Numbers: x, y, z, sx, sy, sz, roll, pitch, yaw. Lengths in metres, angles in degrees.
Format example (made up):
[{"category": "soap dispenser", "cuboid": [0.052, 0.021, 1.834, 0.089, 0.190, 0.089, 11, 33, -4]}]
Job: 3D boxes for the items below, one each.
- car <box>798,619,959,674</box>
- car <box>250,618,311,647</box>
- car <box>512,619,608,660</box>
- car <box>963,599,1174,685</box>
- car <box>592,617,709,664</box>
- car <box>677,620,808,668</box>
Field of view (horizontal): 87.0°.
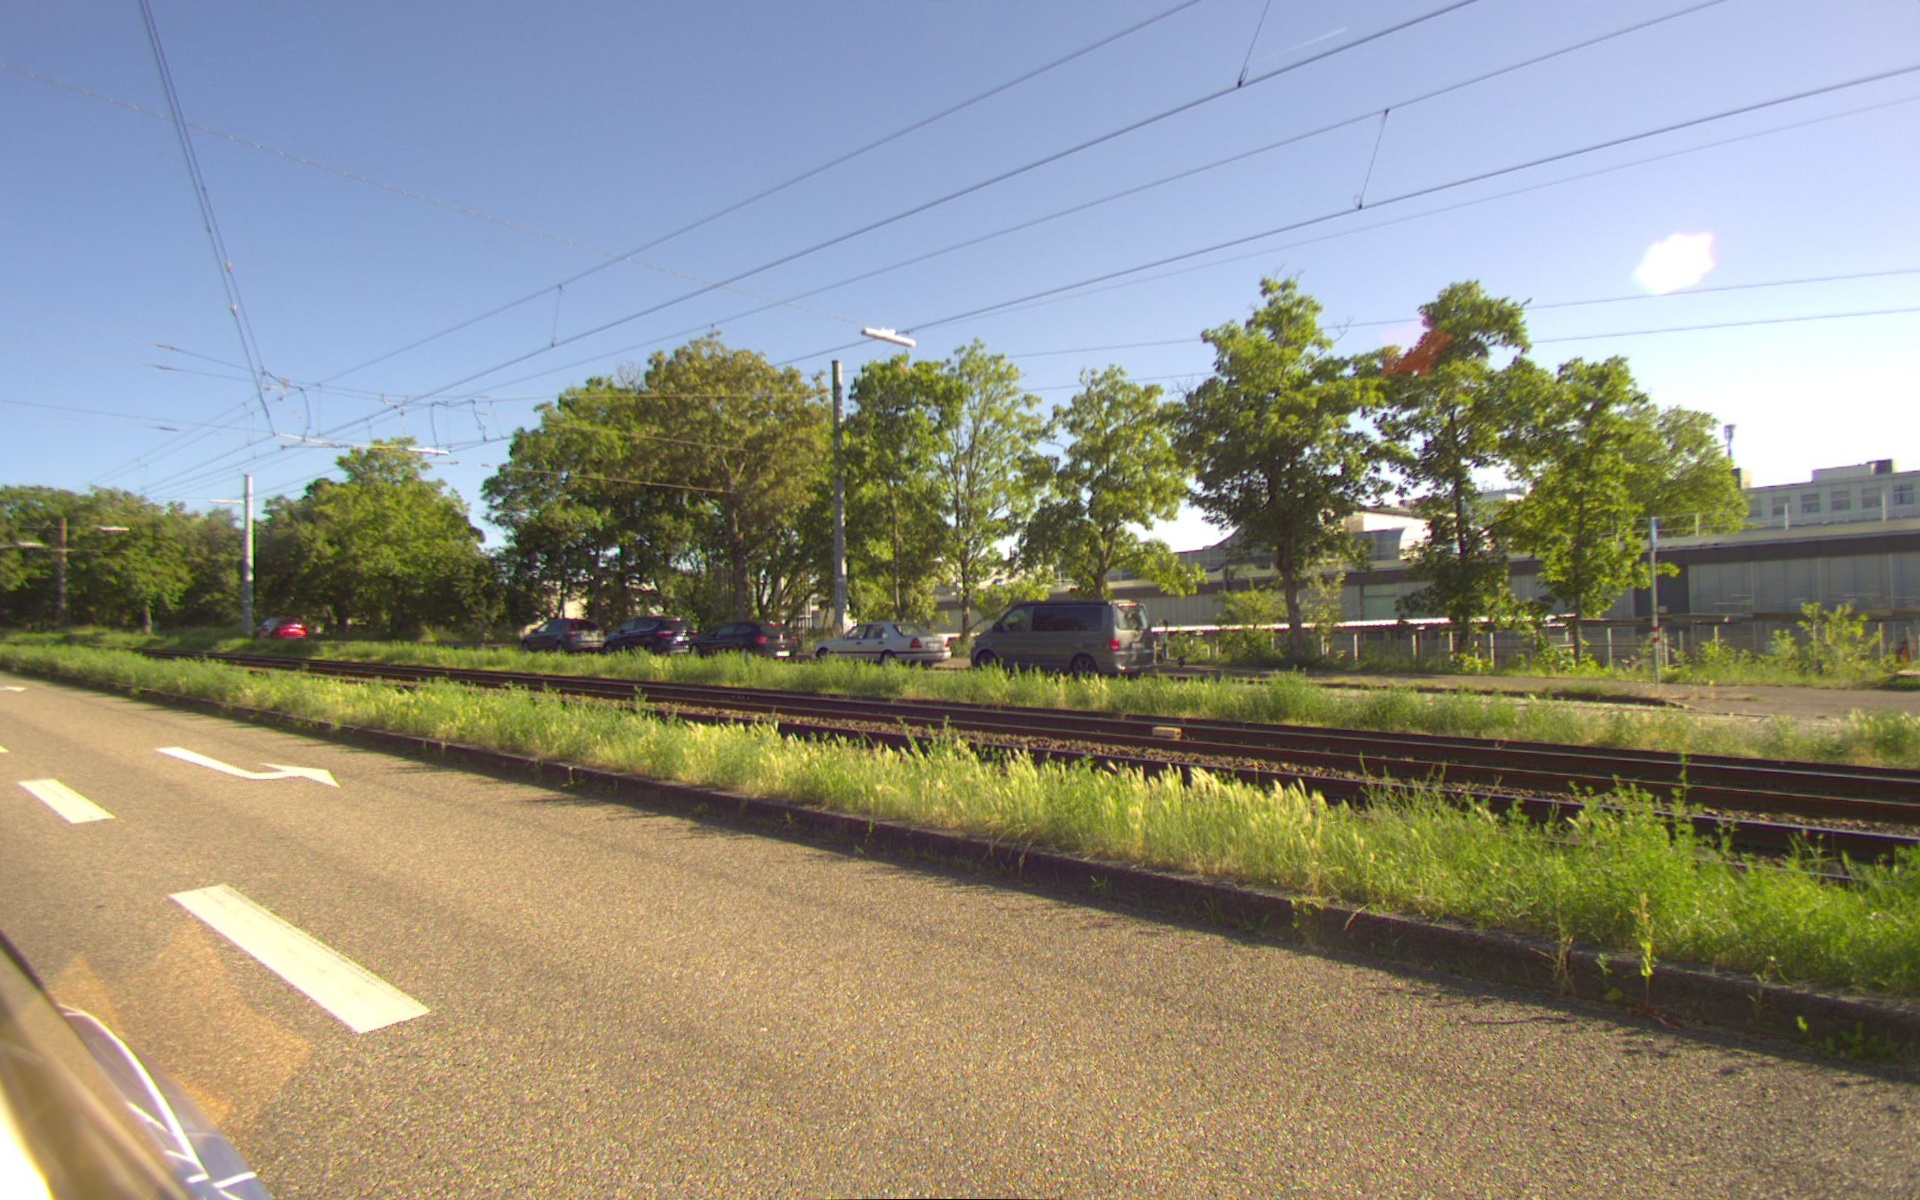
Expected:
[{"category": "car", "cuboid": [-2.424, 1.312, 29.181, 4.692, 1.448, 1.908, -2, -2, 41]}, {"category": "car", "cuboid": [-42.160, 1.995, 62.744, 4.462, 1.715, 1.984, -1, -1, 40]}, {"category": "car", "cuboid": [-16.307, 1.580, 41.195, 4.323, 1.505, 1.718, -1, 0, 39]}, {"category": "car", "cuboid": [2.559, 0.978, 24.770, 4.791, 1.905, 2.173, -2, -1, 43]}, {"category": "car", "cuboid": [-11.287, 1.450, 36.750, 4.430, 1.586, 1.974, -2, -1, 39]}, {"category": "car", "cuboid": [-7.200, 1.438, 33.286, 4.412, 1.448, 1.973, -2, -2, 41]}]
